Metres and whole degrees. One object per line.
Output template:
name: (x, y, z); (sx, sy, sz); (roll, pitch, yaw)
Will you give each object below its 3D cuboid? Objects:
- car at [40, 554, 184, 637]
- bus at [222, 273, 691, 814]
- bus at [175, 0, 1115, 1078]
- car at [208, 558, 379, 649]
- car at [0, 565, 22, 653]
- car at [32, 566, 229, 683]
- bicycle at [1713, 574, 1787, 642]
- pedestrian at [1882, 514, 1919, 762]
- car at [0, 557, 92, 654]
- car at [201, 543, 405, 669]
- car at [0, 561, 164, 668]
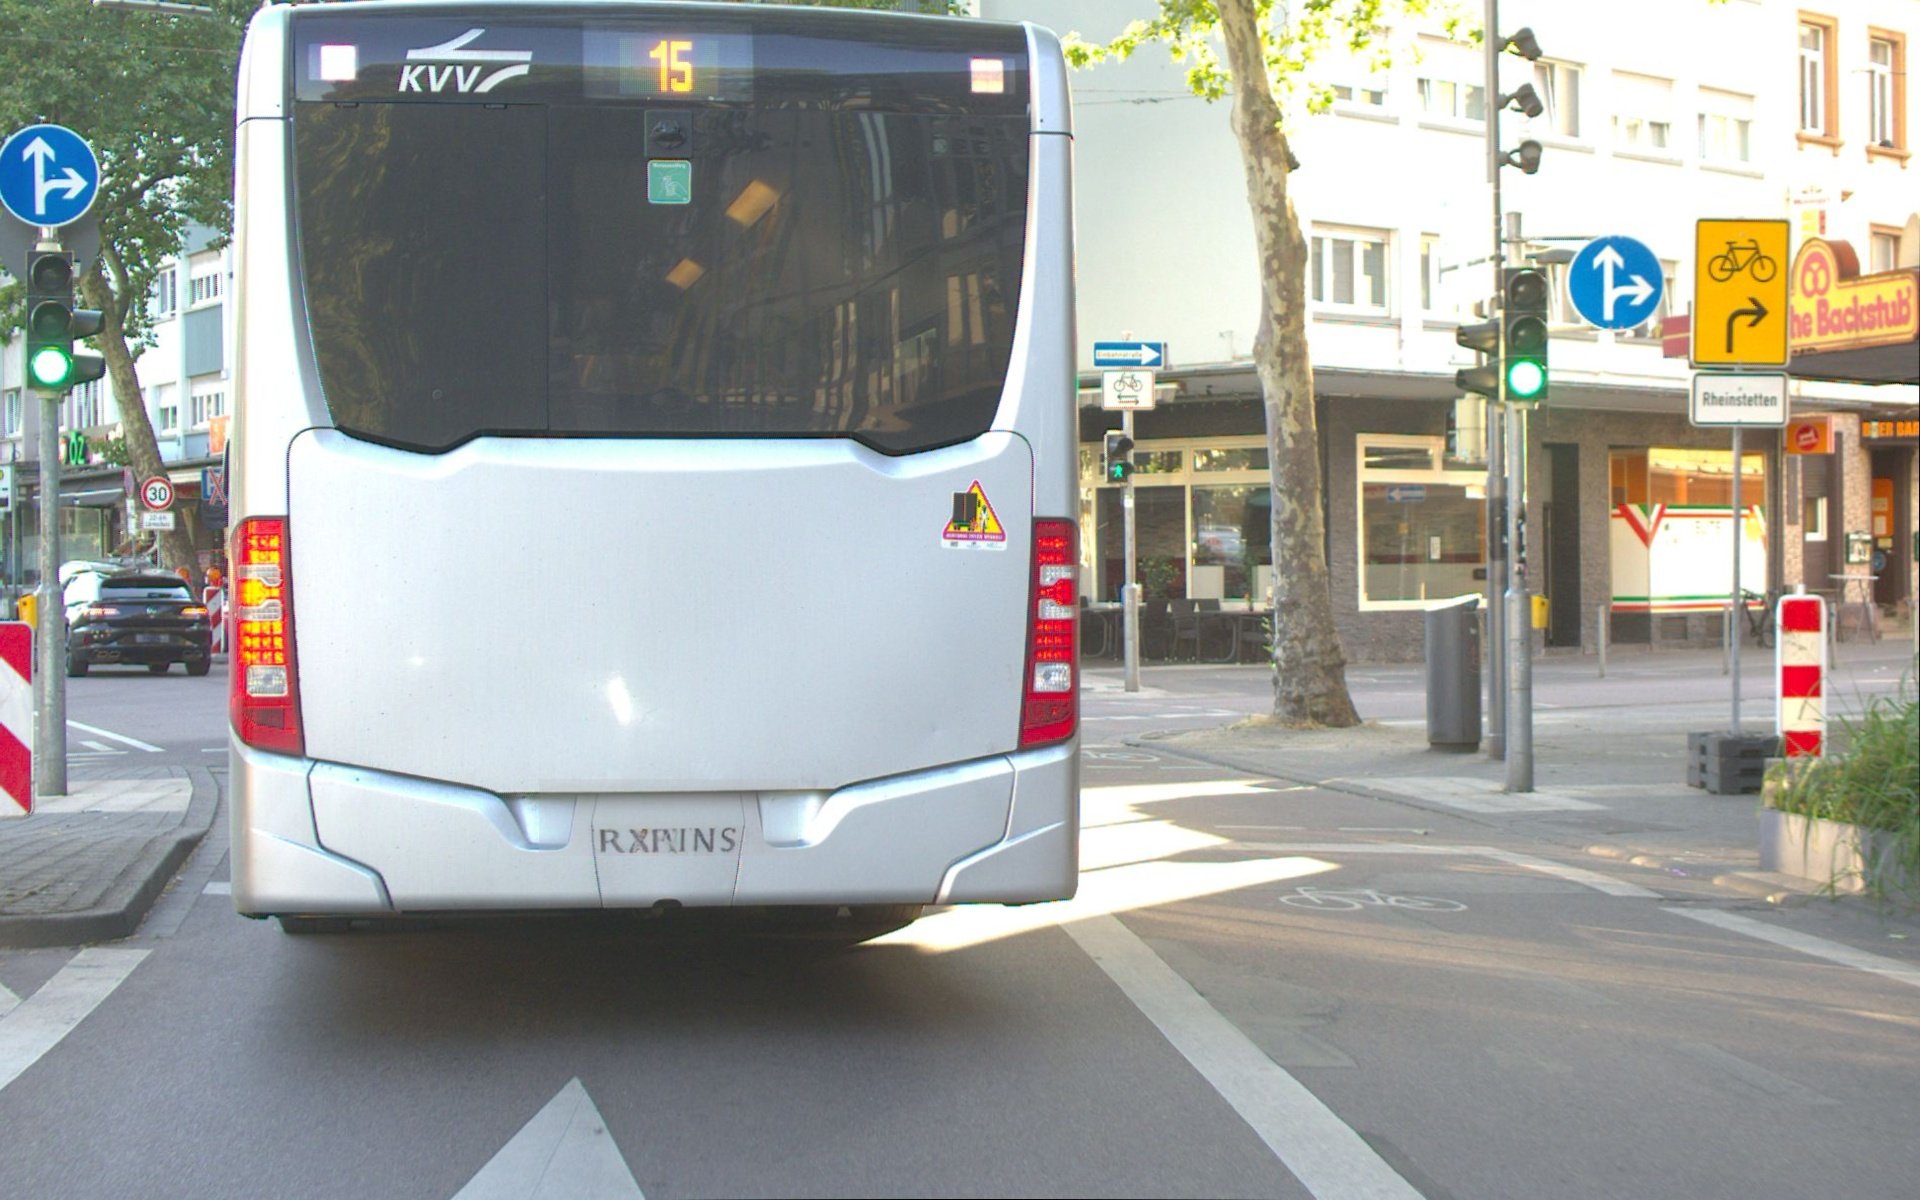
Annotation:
car: (-16.325, -0.108, 66.075); (1.662, 1.463, 3.413); (-4, 3, -31)
bus: (-3.848, -0.368, 24.887); (2.657, 3.088, 10.218); (0, 0, -11)
bus: (-1.819, -0.261, 14.809); (2.657, 3.088, 10.218); (0, 0, -11)
car: (-11.338, 0.032, 58.329); (1.662, 1.390, 3.412); (-4, 3, -32)
car: (-17.214, 0.141, 58.180); (1.756, 1.459, 4.001); (-1, 1, -28)
car: (-10.987, 0.287, 45.356); (1.755, 1.459, 4.001); (-1, 1, -25)
bicycle: (12.397, 0.118, 53.923); (0.294, 1.037, 1.714); (-3, -1, 42)
pedestrian: (7.021, 0.247, 23.905); (0.835, 1.706, 0.794); (-3, 2, -17)
car: (-14.913, 0.067, 53.996); (1.755, 1.459, 4.001); (-1, 1, -25)
car: (-8.862, 0.056, 46.191); (1.759, 1.622, 3.612); (-1, 1, -27)
car: (-12.807, 0.178, 49.645); (1.755, 1.459, 4.001); (-1, 1, -25)
